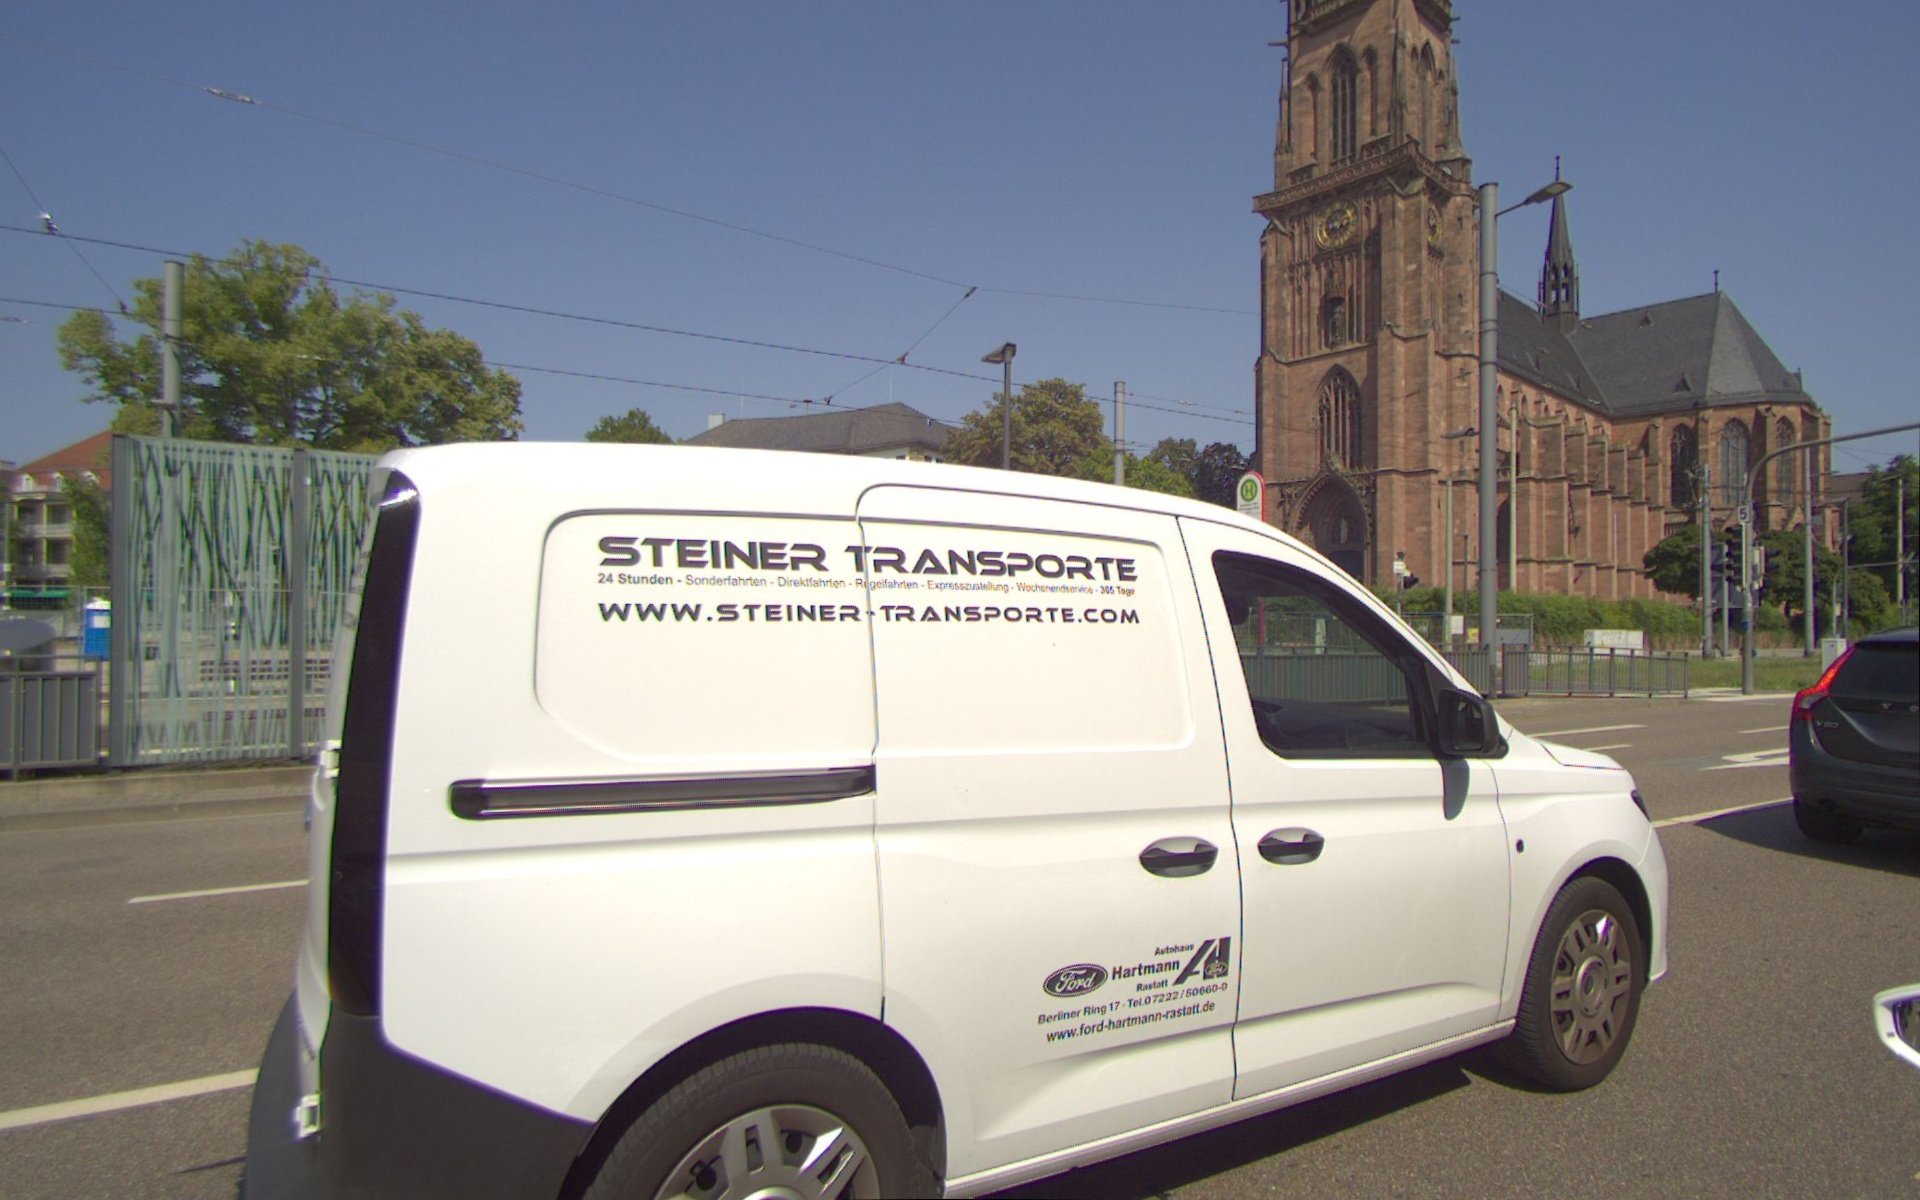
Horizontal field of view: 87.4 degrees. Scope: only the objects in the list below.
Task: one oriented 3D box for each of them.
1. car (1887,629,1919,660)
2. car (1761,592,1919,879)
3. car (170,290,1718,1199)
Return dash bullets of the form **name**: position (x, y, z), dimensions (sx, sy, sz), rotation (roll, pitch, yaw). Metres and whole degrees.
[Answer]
- **car**: position (47.212, 2.195, 49.755), dimensions (1.727, 1.454, 4.549), rotation (-3, -3, 42)
- **car**: position (7.368, 0.806, 6.720), dimensions (4.258, 1.636, 1.739), rotation (1, 0, -31)
- **car**: position (0.356, 0.559, 3.124), dimensions (4.190, 1.844, 1.739), rotation (1, -1, -31)
